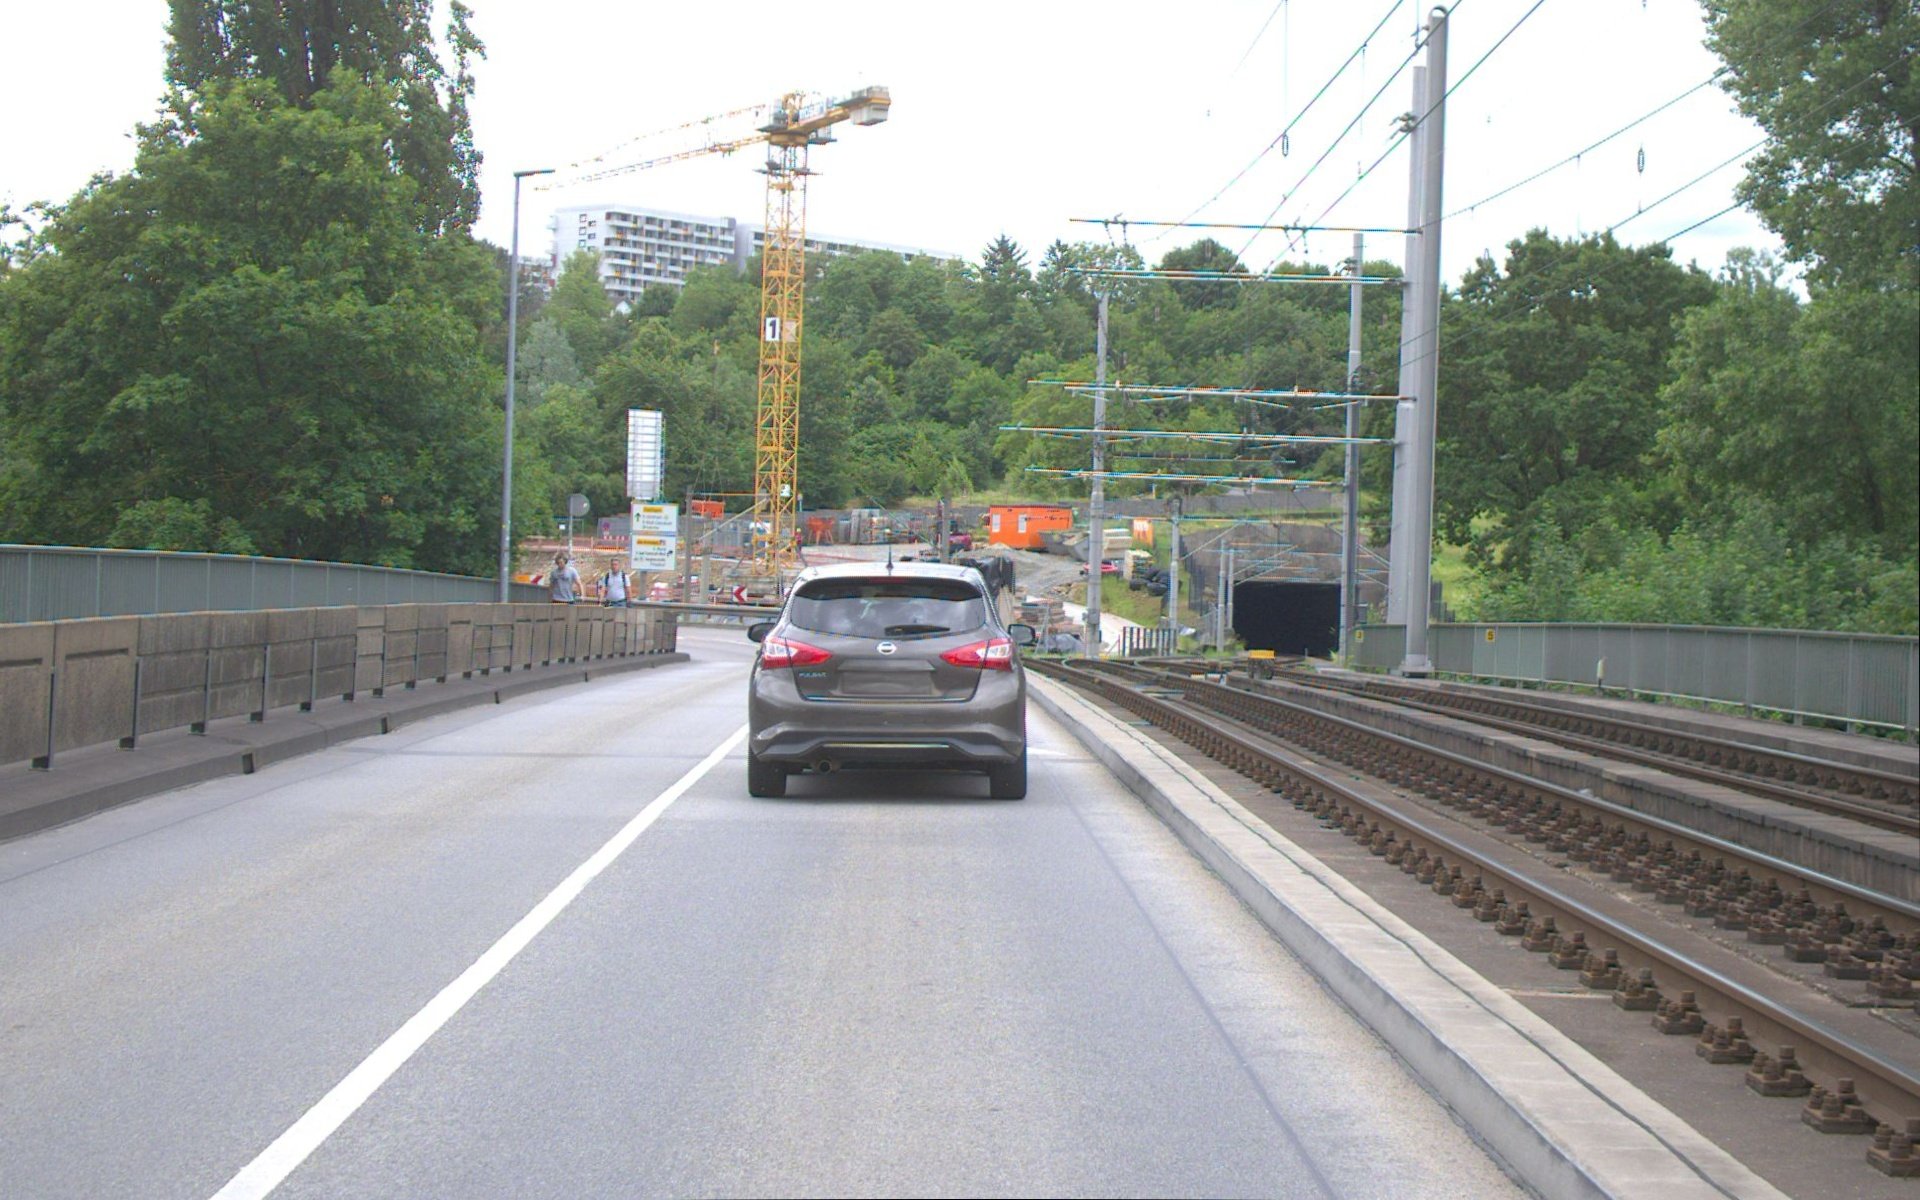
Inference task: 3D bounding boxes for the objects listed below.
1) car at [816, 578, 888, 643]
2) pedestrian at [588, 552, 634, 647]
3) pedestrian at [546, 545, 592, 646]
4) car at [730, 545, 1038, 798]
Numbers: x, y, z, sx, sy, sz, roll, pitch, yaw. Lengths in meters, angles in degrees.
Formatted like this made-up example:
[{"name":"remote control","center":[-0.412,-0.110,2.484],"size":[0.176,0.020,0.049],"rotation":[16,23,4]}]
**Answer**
[{"name":"car","center":[-2.838,0.251,89.907],"size":[1.680,1.601,4.310],"rotation":[1,1,-4]},{"name":"pedestrian","center":[-6.332,-0.009,62.480],"size":[0.721,1.695,0.723],"rotation":[2,0,-1]},{"name":"pedestrian","center":[-7.225,-0.090,63.502],"size":[0.721,1.833,0.723],"rotation":[2,0,-1]},{"name":"car","center":[-0.597,0.431,23.034],"size":[1.829,1.505,4.001],"rotation":[1,0,-4]}]
